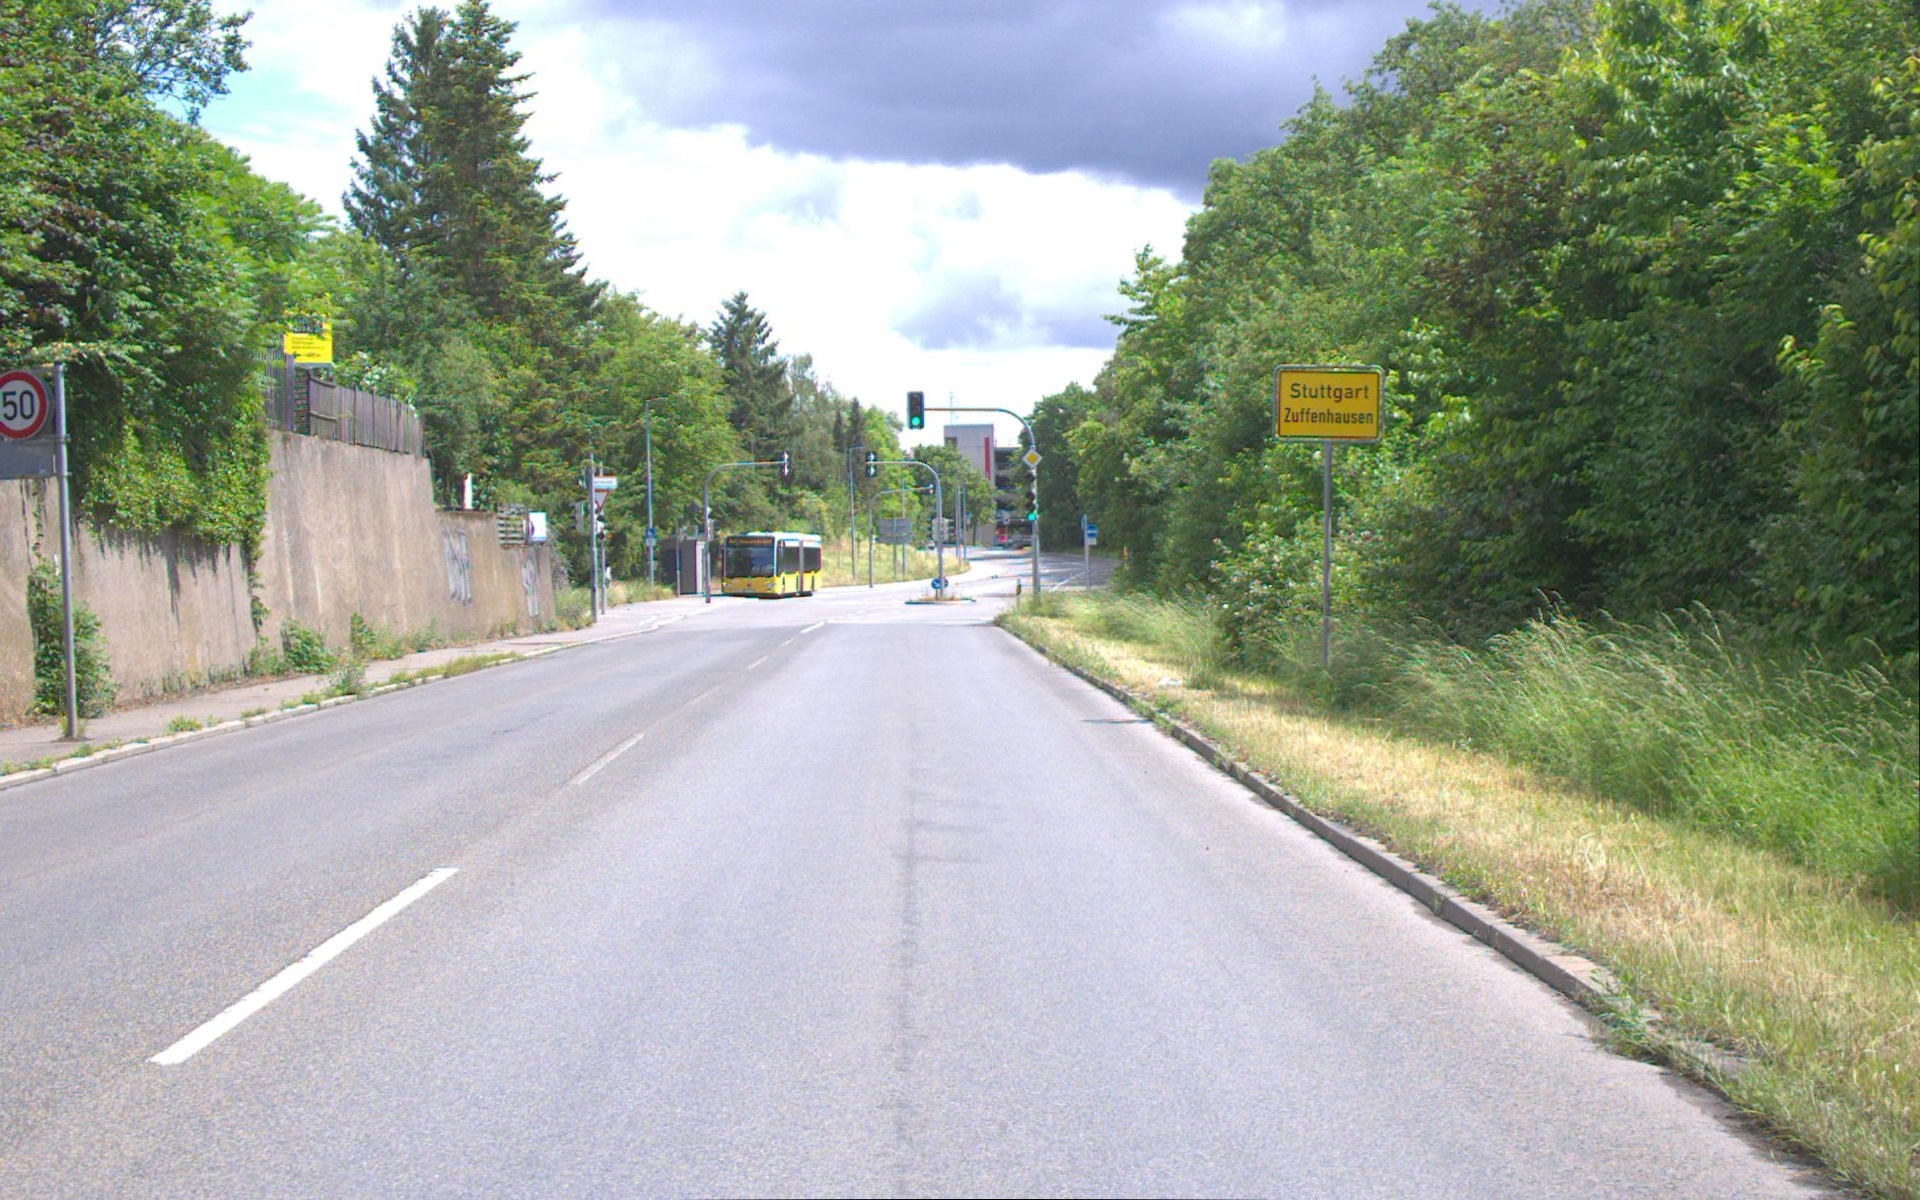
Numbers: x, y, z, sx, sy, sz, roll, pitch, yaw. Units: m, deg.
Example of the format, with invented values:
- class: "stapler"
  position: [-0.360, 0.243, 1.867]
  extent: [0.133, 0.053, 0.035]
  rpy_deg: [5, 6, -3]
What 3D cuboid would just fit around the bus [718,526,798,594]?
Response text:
- class: "bus"
  position: [-9.299, -1.894, 159.111]
  extent: [2.895, 2.889, 7.667]
  rpy_deg: [1, 2, 2]
